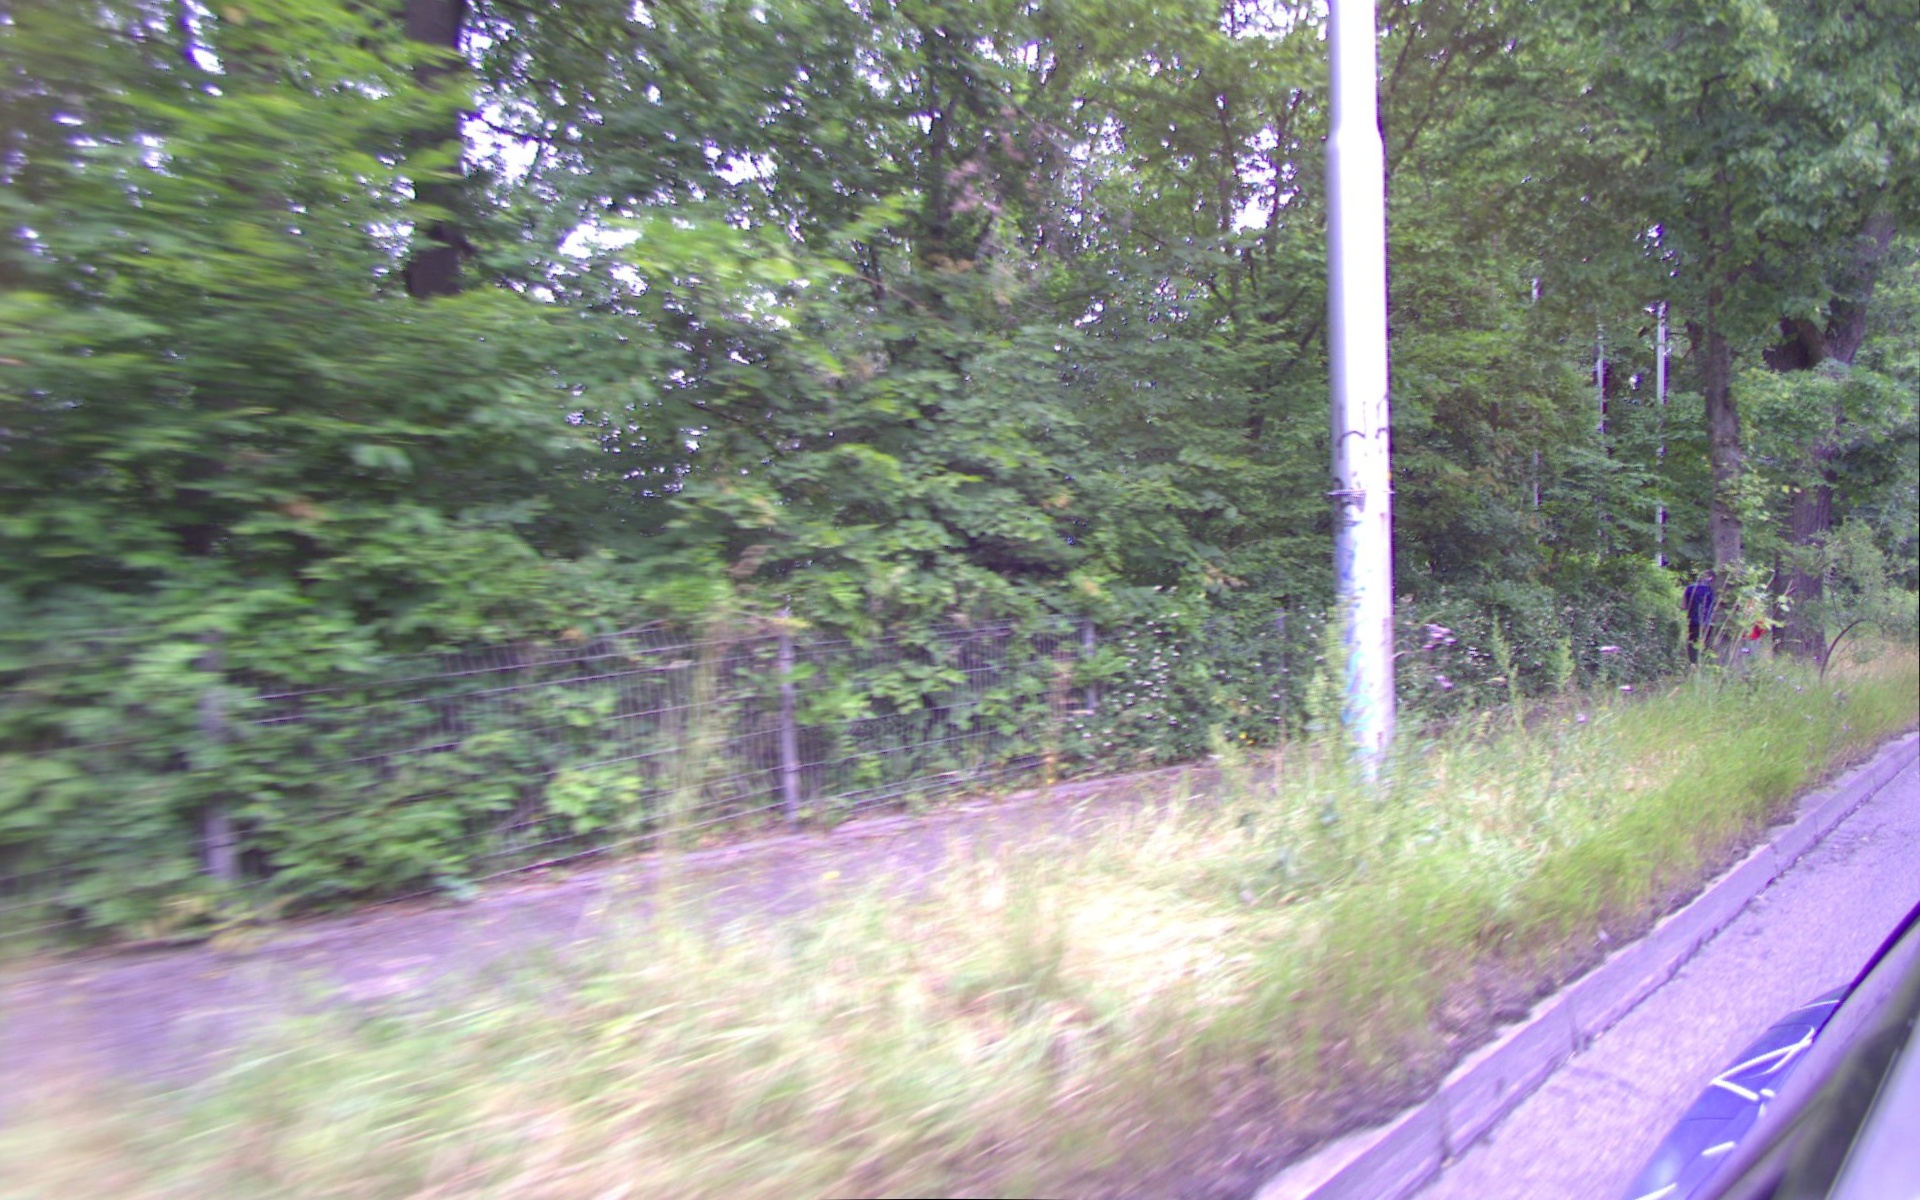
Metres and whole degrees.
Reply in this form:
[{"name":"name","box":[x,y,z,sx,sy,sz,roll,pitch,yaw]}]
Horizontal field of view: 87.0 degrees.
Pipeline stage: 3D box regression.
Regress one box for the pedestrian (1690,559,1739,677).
[{"name":"pedestrian","box":[11.599,0.273,15.563,0.516,1.775,0.519,0,0,-44]}]

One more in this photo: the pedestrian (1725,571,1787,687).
[{"name":"pedestrian","box":[12.279,0.434,15.608,0.540,1.718,0.609,0,3,-44]}]
